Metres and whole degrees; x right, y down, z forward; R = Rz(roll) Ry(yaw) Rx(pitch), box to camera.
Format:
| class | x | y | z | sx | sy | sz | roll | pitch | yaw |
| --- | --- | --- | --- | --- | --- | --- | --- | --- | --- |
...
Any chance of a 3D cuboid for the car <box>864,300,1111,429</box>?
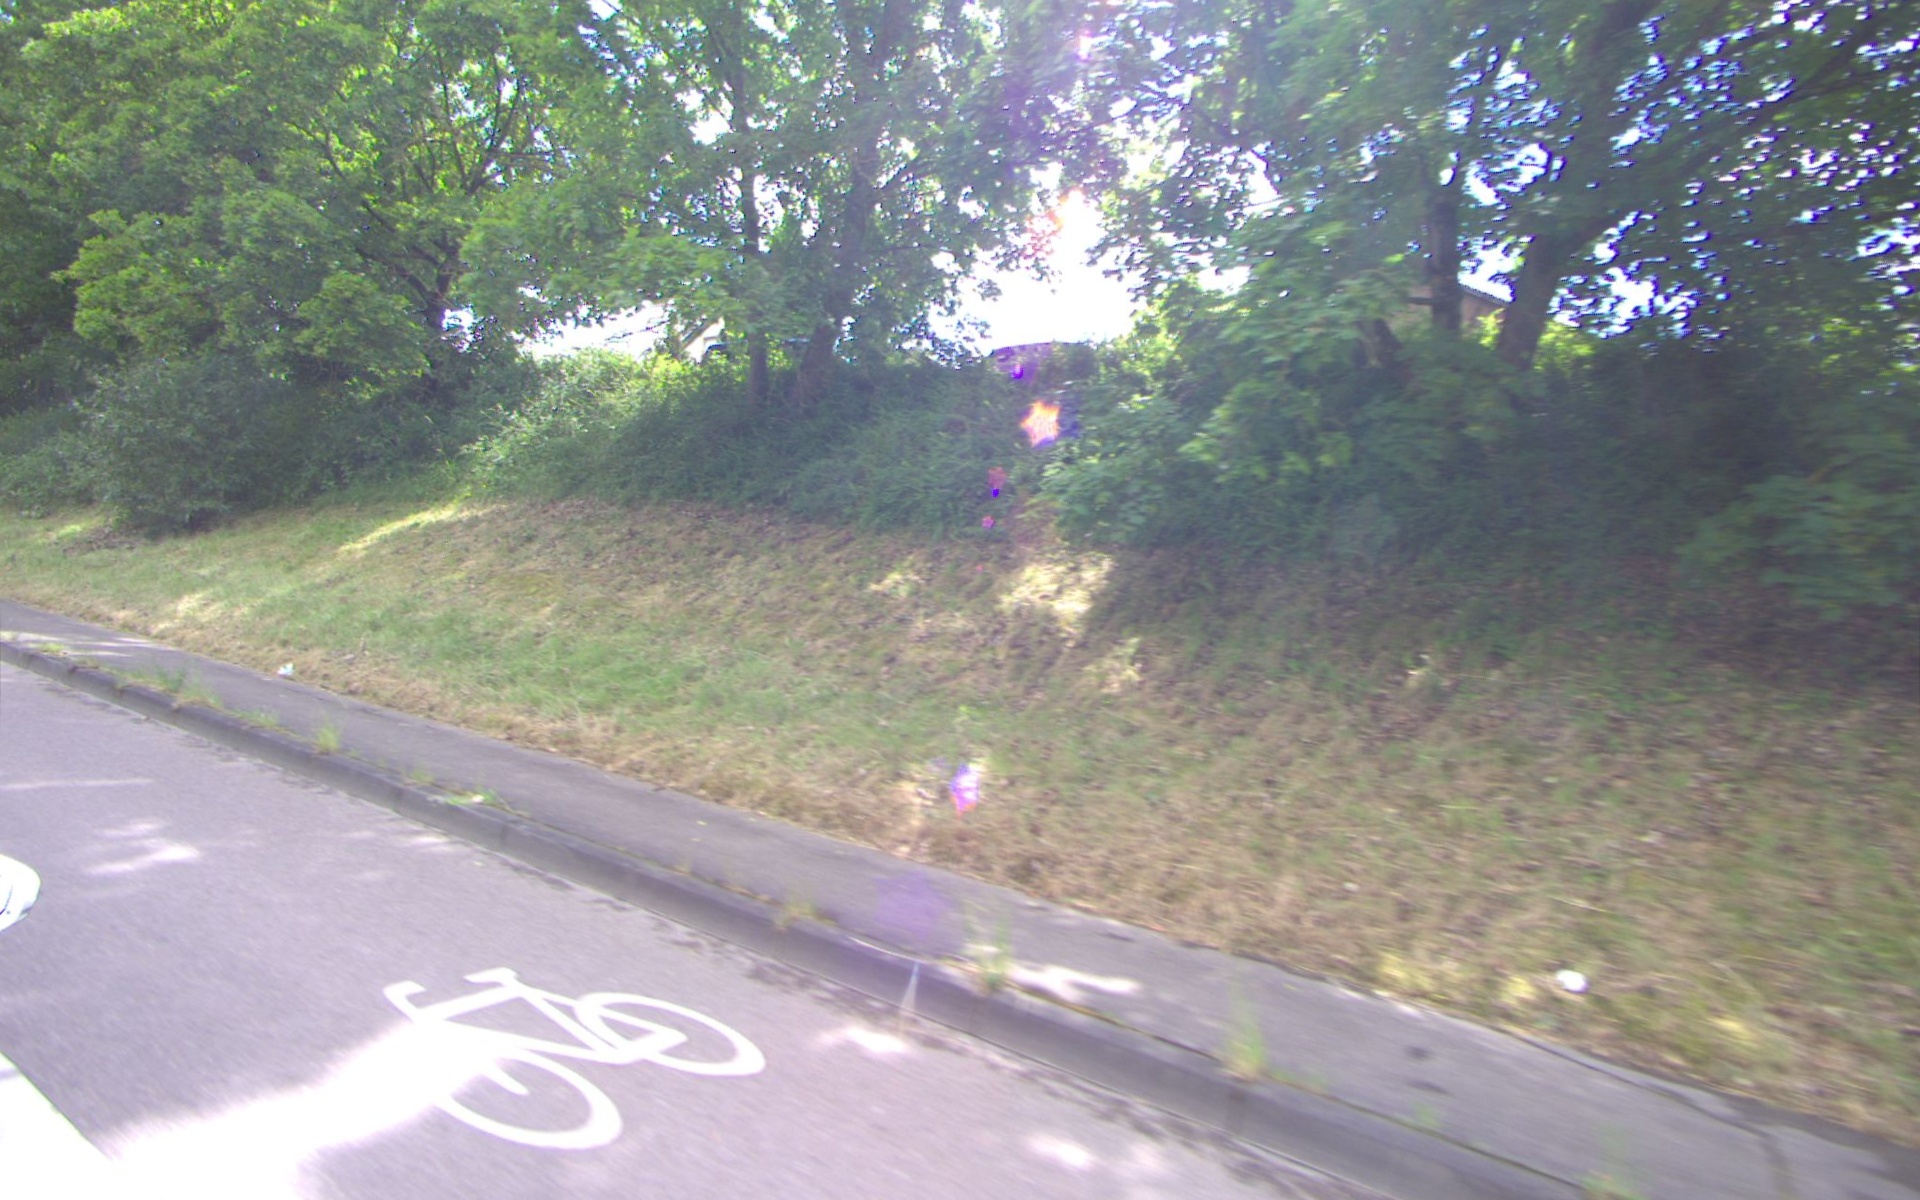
| class | x | y | z | sx | sy | sz | roll | pitch | yaw |
| --- | --- | --- | --- | --- | --- | --- | --- | --- | --- |
| car | 0.447 | -4.144 | 18.060 | 3.976 | 1.707 | 1.647 | 7 | -1 | 31 |

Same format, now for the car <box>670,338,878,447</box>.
| class | x | y | z | sx | sy | sz | roll | pitch | yaw |
| --- | --- | --- | --- | --- | --- | --- | --- | --- | --- |
| car | -3.893 | -4.253 | 20.869 | 3.976 | 1.707 | 1.647 | 7 | -1 | 31 |
